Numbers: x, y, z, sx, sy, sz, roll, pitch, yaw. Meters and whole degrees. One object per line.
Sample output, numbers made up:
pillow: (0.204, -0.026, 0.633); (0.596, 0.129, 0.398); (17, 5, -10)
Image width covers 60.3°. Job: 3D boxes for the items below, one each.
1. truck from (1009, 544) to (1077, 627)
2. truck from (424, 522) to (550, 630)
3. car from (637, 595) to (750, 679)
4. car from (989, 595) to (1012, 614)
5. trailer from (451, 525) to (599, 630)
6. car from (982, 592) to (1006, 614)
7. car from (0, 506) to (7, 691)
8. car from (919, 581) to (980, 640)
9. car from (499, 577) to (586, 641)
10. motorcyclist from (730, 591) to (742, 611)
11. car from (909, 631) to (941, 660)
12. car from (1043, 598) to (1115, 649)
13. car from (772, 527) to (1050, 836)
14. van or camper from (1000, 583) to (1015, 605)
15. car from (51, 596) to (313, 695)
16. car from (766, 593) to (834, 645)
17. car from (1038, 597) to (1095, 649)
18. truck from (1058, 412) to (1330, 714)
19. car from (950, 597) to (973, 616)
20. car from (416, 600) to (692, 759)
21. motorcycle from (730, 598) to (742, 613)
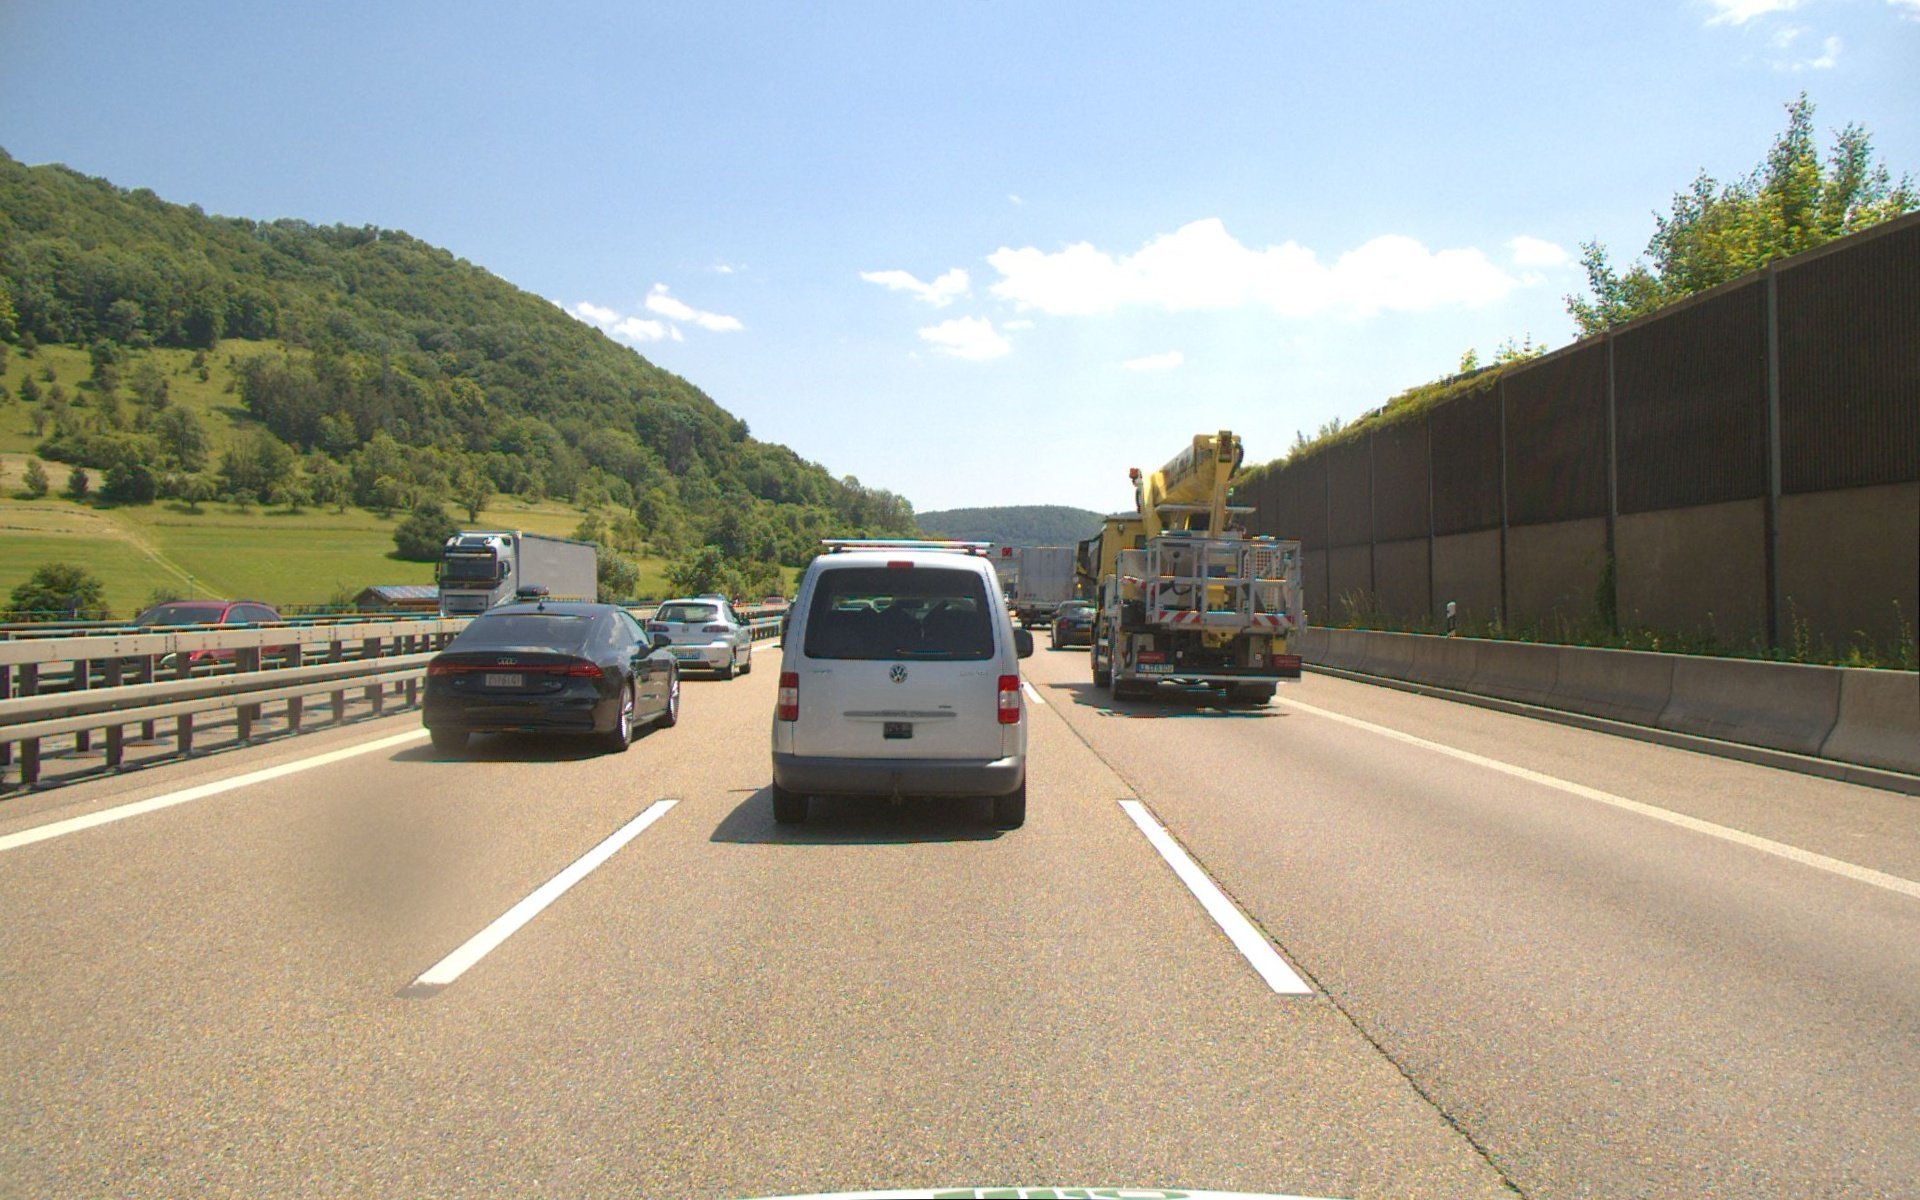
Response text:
truck: (4.052, -0.669, 82.412); (2.880, 3.890, 8.236); (1, -1, 0)
truck: (-19.385, -0.915, 68.259); (3.211, 4.220, 6.953); (0, 0, -1)
car: (-4.905, 0.641, 30.866); (1.662, 1.470, 3.859); (0, 0, -3)
car: (4.153, 0.476, 170.417); (2.072, 1.860, 3.997); (1, -1, -4)
trailer: (-19.373, -0.884, 74.804); (3.180, 4.278, 12.998); (1, 0, 0)
car: (2.887, 0.263, 142.438); (1.953, 1.779, 3.999); (1, -1, 0)
car: (-16.114, -0.063, 22.944); (2.112, 2.912, 6.397); (1, -1, -1)
car: (-0.401, 0.367, 58.264); (1.954, 2.010, 3.997); (0, 0, -3)
car: (-14.795, 0.305, 58.817); (1.846, 2.155, 4.284); (0, 0, 2)
motorcyclist: (-17.393, 0.089, 128.281); (0.827, 1.527, 0.838); (0, 0, -2)
car: (-2.370, 3.099, 112.538); (2.071, 1.860, 3.999); (1, -1, -1)
car: (3.603, 0.685, 50.587); (1.751, 1.484, 3.768); (0, 0, -3)
car: (-0.412, 0.498, 12.242); (1.721, 1.900, 3.997); (0, 0, -3)
van or camper: (6.752, -0.808, 236.952); (1.953, 3.005, 5.422); (1, -1, 0)
car: (-12.090, 0.649, 26.109); (1.953, 1.411, 4.720); (1, 0, -1)
car: (-4.839, 0.556, 50.597); (1.886, 1.525, 3.997); (1, 0, -3)
car: (4.288, 0.912, 67.213); (1.953, 2.049, 3.998); (0, 0, -2)
truck: (3.381, -0.497, 26.391); (2.650, 4.011, 8.716); (0, 0, -3)
car: (0.145, 0.656, 163.578); (2.072, 1.860, 3.997); (1, -1, -4)
car: (-4.039, 0.714, 17.316); (1.764, 1.415, 4.968); (0, 0, -1)
motorcycle: (-17.405, 0.437, 128.310); (0.703, 1.169, 2.129); (0, 0, -2)
